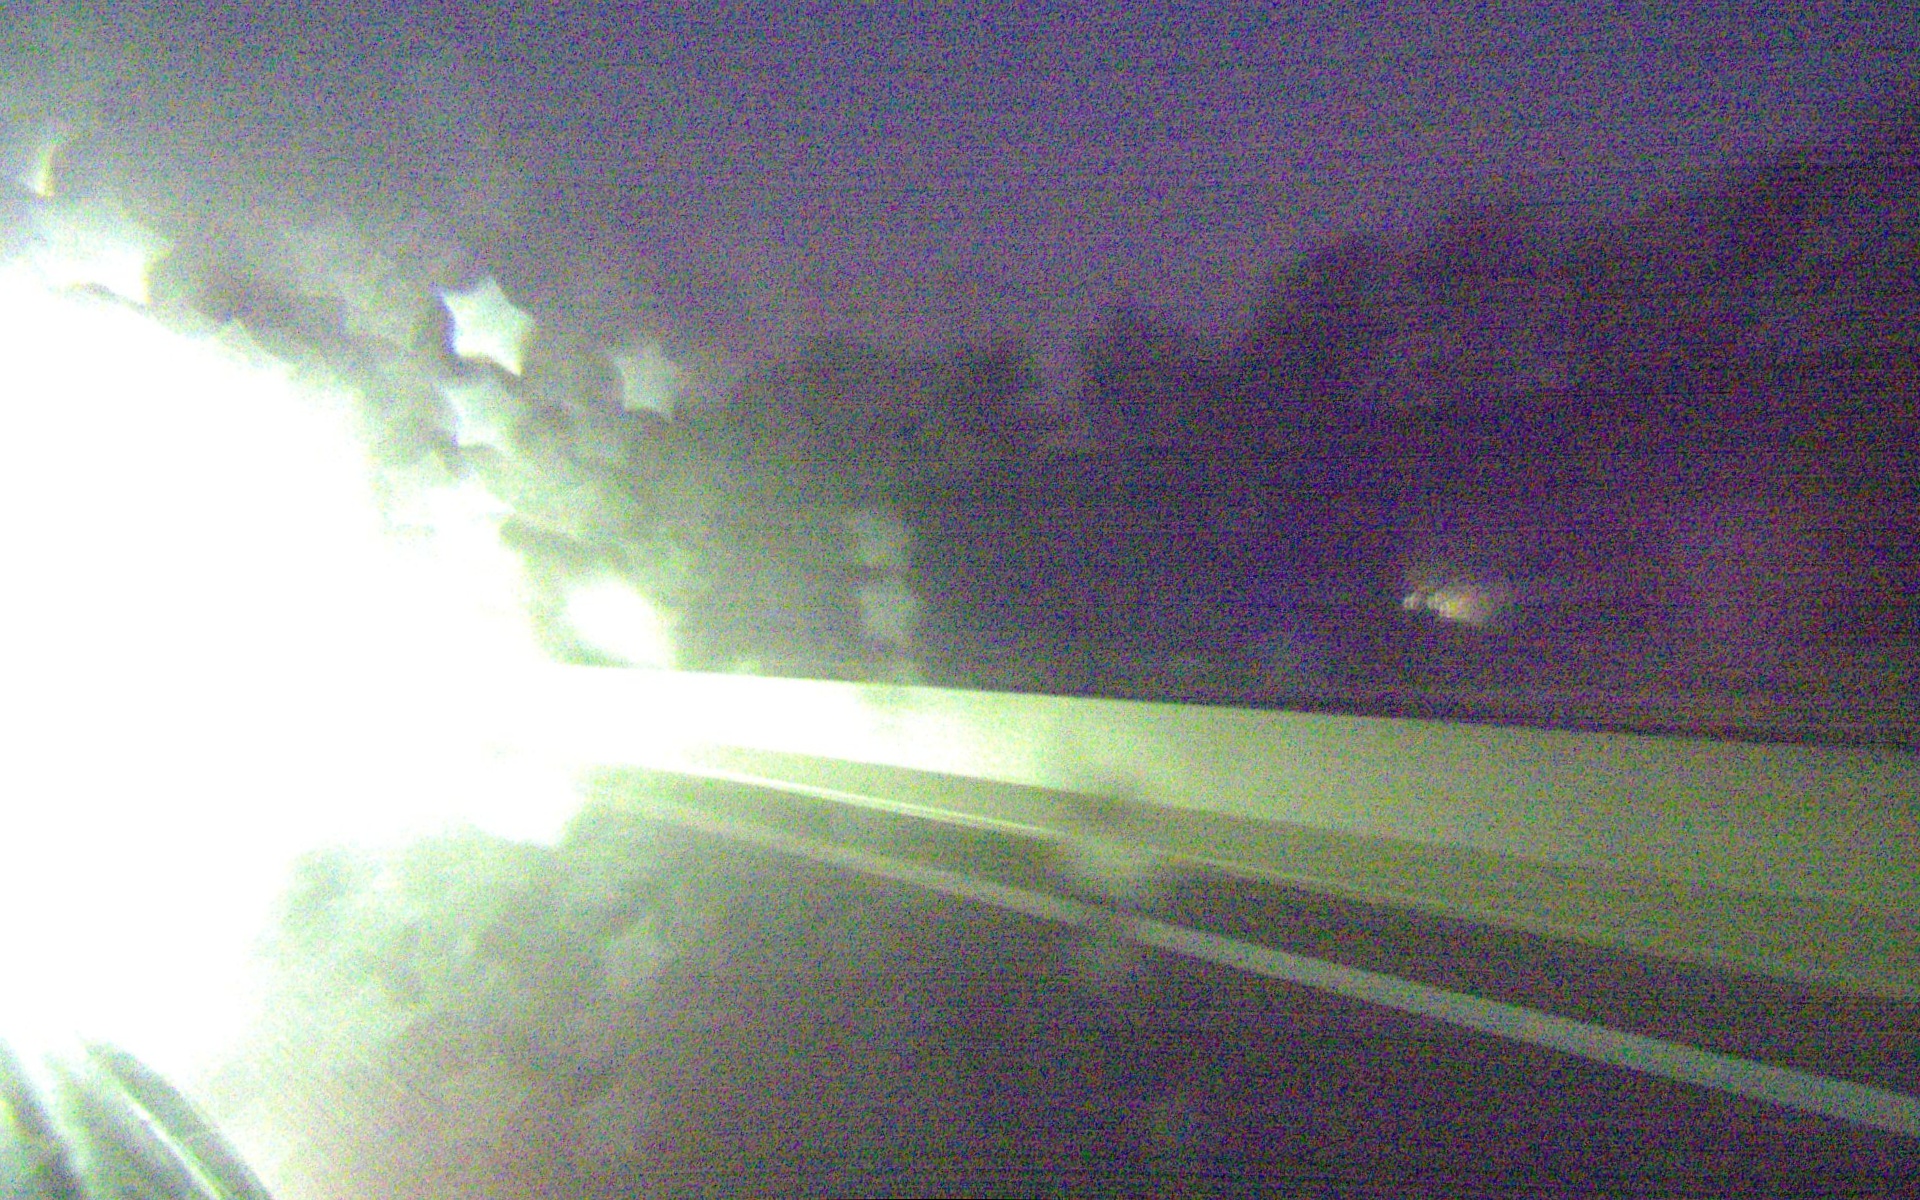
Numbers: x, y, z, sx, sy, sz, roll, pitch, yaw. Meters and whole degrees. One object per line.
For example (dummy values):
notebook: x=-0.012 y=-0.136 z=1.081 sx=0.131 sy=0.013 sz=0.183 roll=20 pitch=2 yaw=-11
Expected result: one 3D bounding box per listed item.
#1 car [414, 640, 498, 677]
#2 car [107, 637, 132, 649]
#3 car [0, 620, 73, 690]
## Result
car: x=-22.409 y=2.555 z=44.959 sx=3.999 sy=1.497 sz=1.972 roll=-2 pitch=0 yaw=42
car: x=-110.792 y=5.641 z=133.338 sx=3.999 sy=1.497 sz=1.972 roll=-2 pitch=0 yaw=42
car: x=-23.366 y=1.304 z=24.771 sx=2.277 sy=1.622 sz=3.874 roll=3 pitch=-3 yaw=-44
